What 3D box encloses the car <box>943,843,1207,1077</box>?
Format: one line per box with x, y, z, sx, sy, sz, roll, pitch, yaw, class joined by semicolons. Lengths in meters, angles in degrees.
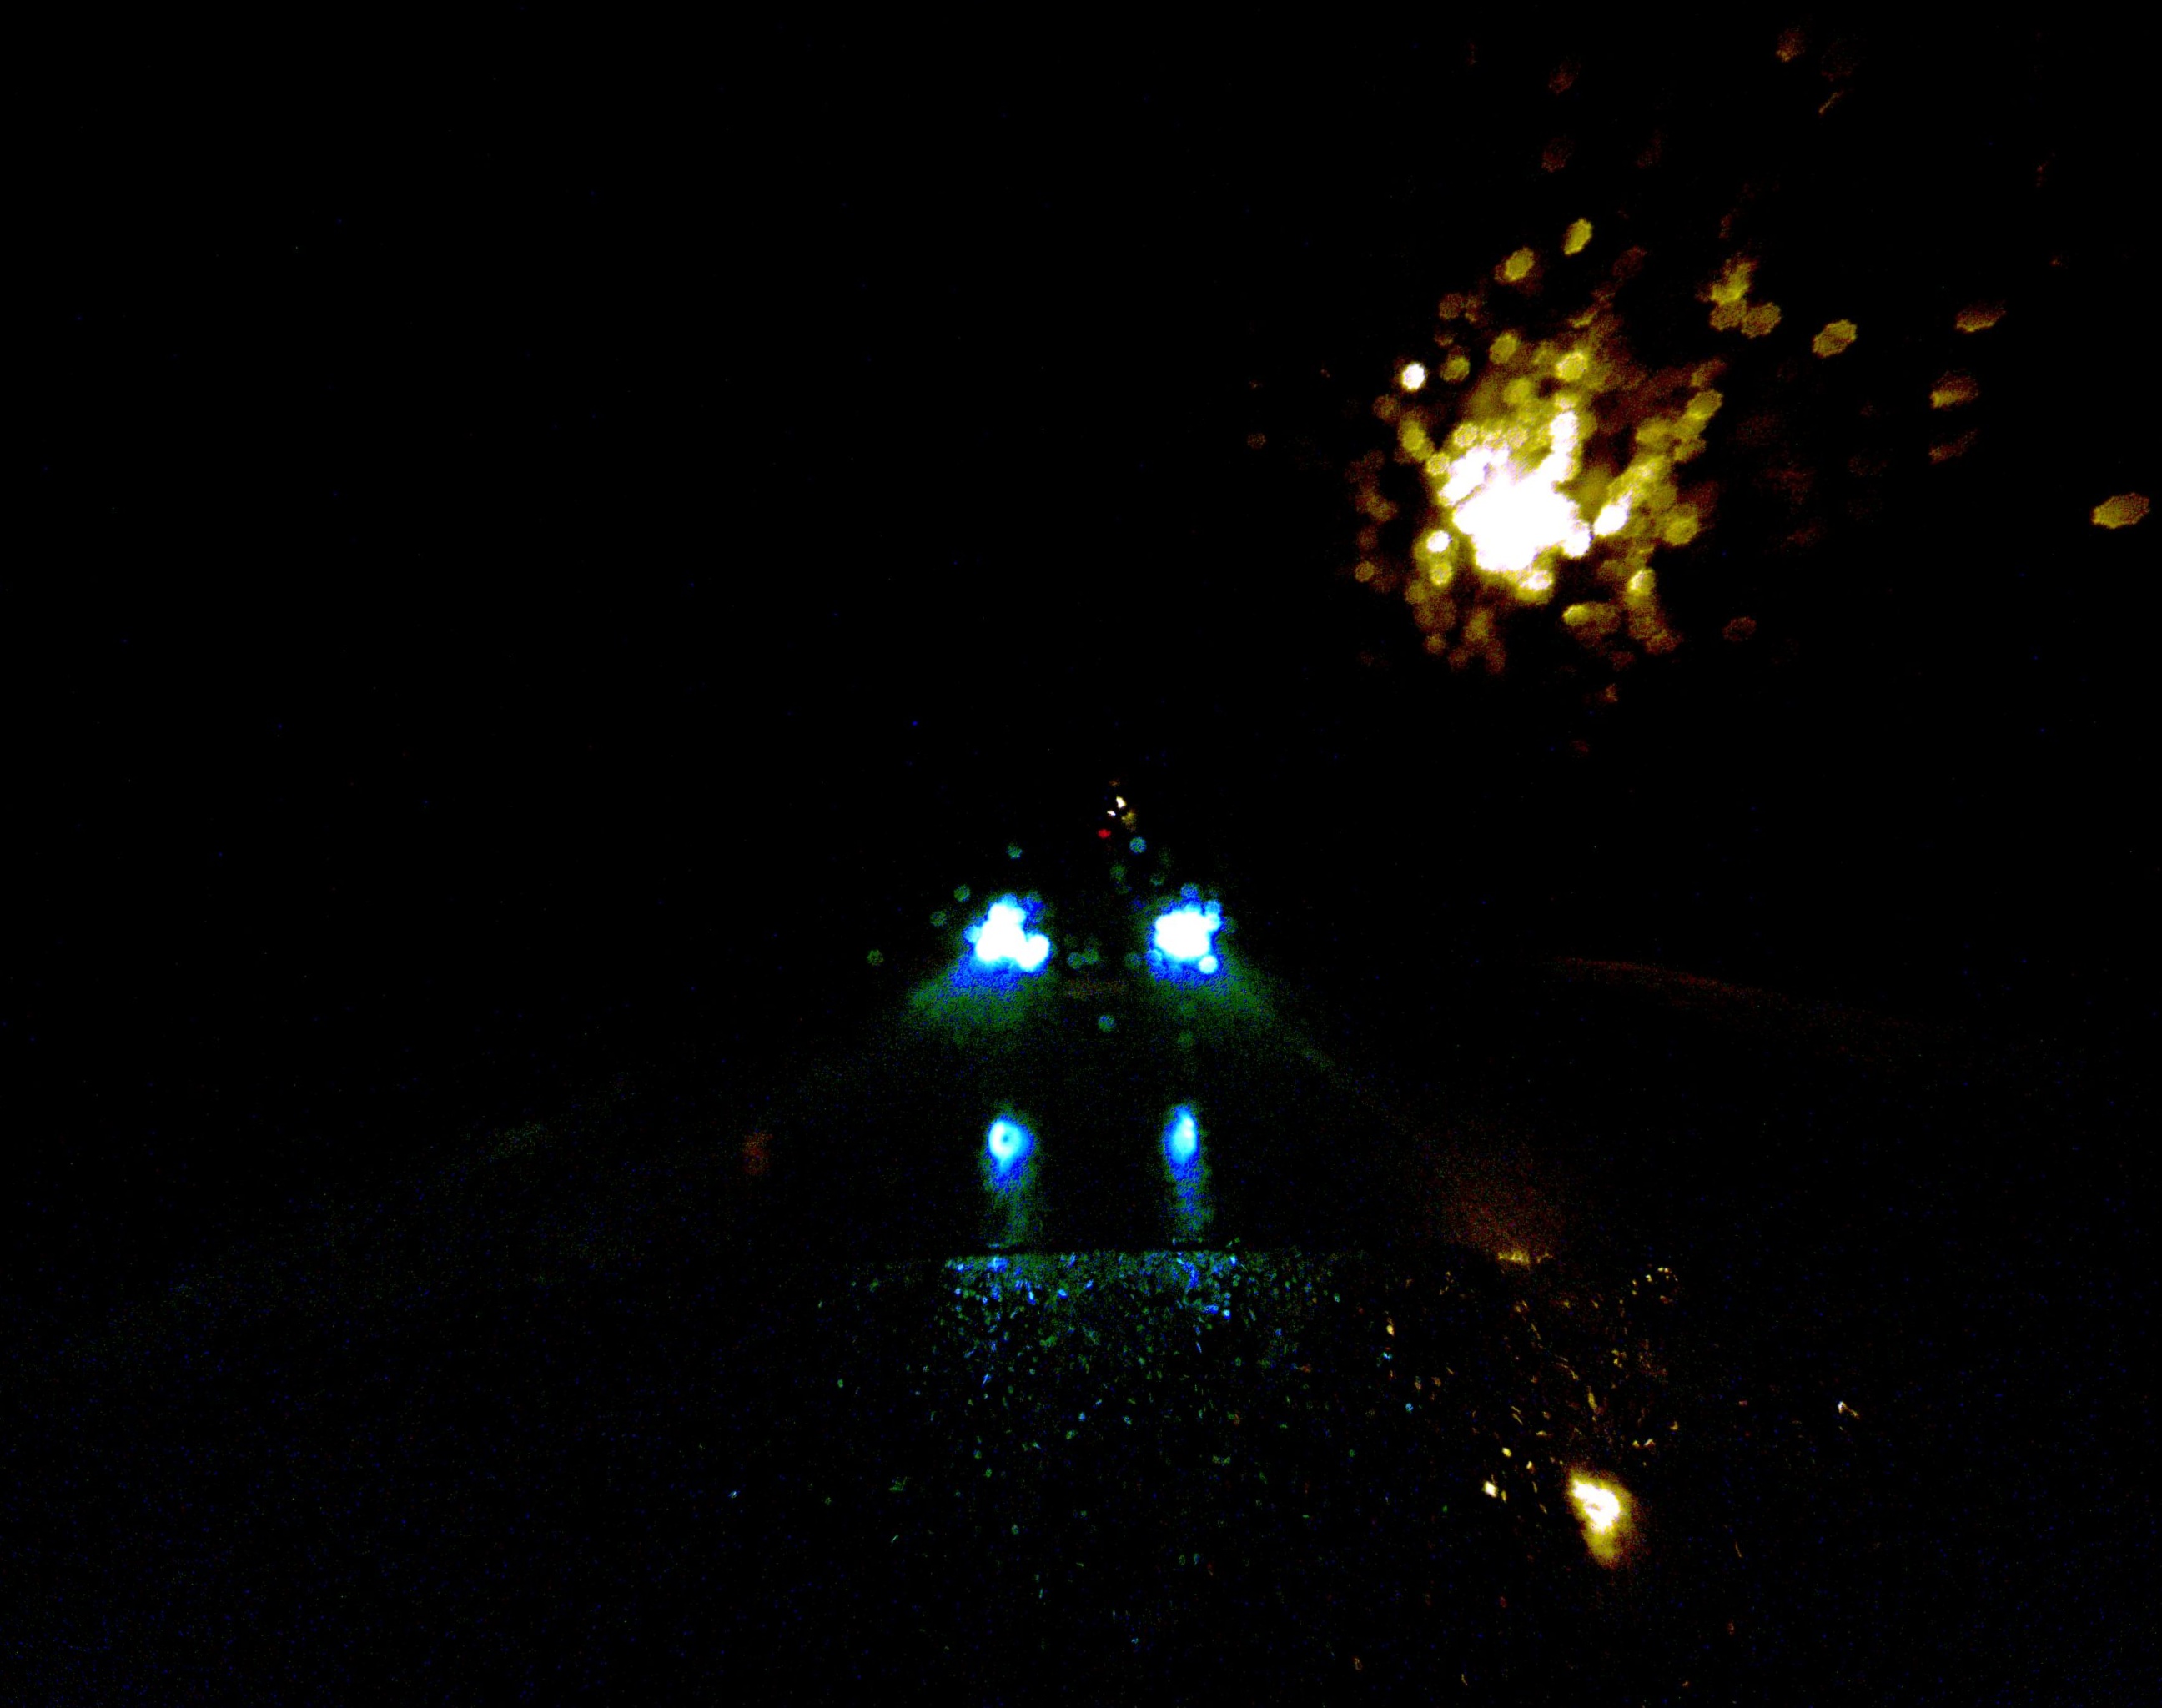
0.092;0.757;7.731;1.893;1.678;4.340;-1;1;4;car
